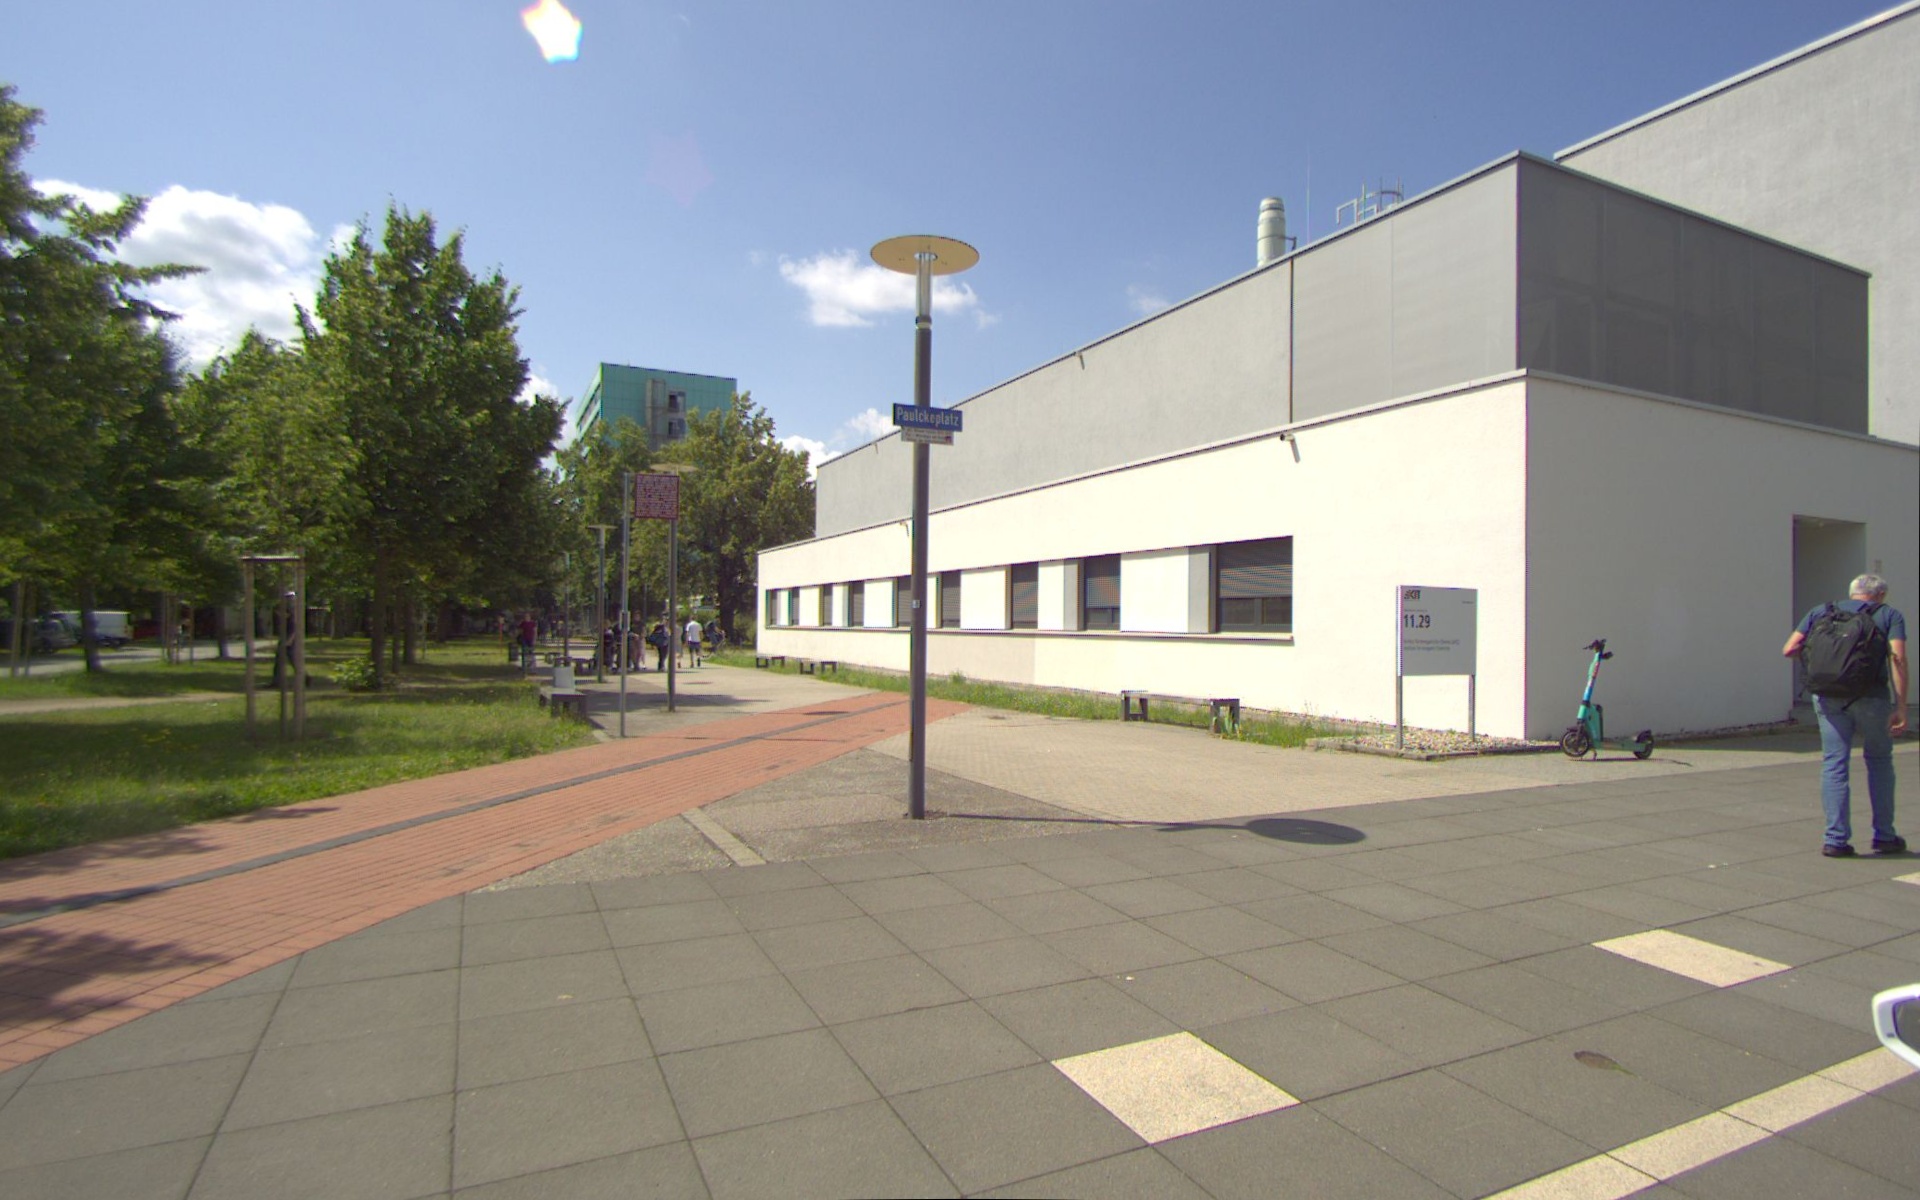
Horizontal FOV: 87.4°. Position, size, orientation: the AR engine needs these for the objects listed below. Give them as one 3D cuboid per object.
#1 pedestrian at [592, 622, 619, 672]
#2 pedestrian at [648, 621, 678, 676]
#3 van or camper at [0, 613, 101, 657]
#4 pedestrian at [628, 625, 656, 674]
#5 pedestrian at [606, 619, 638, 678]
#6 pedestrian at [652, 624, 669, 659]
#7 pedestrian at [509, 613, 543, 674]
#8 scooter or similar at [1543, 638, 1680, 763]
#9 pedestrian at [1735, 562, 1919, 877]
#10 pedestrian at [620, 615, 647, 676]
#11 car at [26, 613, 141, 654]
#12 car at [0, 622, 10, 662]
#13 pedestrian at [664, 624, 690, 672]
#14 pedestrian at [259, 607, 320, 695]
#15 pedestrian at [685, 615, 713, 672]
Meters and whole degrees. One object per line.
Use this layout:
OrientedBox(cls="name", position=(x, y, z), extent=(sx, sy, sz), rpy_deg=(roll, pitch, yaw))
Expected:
OrientedBox(cls="pedestrian", position=(-11.638, 1.542, 32.955), extent=(0.738, 1.602, 0.849), rpy_deg=(1, -1, -27))
OrientedBox(cls="pedestrian", position=(-9.210, 1.505, 31.124), extent=(0.786, 1.676, 0.730), rpy_deg=(1, -1, -10))
OrientedBox(cls="van or camper", position=(-42.435, 1.621, 46.199), extent=(4.031, 1.910, 1.800), rpy_deg=(3, -2, -28))
OrientedBox(cls="pedestrian", position=(-10.600, 1.646, 33.449), extent=(0.689, 1.602, 0.847), rpy_deg=(1, -2, -33))
OrientedBox(cls="pedestrian", position=(-10.171, 1.441, 30.202), extent=(0.741, 1.720, 0.880), rpy_deg=(1, -1, -31))
OrientedBox(cls="pedestrian", position=(-14.548, 2.011, 48.726), extent=(0.715, 1.716, 0.555), rpy_deg=(1, -1, -23))
OrientedBox(cls="pedestrian", position=(-13.892, 1.393, 32.172), extent=(0.840, 1.916, 0.667), rpy_deg=(1, -1, -10))
OrientedBox(cls="scooter or similar", position=(6.948, 1.052, 10.718), extent=(1.291, 1.280, 0.483), rpy_deg=(1, -1, -14))
OrientedBox(cls="pedestrian", position=(5.778, 0.718, 6.538), extent=(1.131, 1.841, 0.819), rpy_deg=(1, -1, -32))
OrientedBox(cls="pedestrian", position=(-10.209, 1.416, 31.379), extent=(0.673, 1.863, 0.760), rpy_deg=(1, -1, -10))
OrientedBox(cls="car", position=(-45.336, 1.763, 52.064), extent=(4.072, 1.969, 1.800), rpy_deg=(3, -2, -28))
OrientedBox(cls="car", position=(-38.743, 1.534, 37.689), extent=(4.072, 1.562, 1.800), rpy_deg=(3, -3, -28))
OrientedBox(cls="pedestrian", position=(-9.629, 1.616, 34.111), extent=(0.747, 1.583, 0.727), rpy_deg=(1, -1, -23))
OrientedBox(cls="pedestrian", position=(-14.159, 1.061, 21.226), extent=(0.623, 1.810, 0.873), rpy_deg=(-1, -1, 12))
OrientedBox(cls="pedestrian", position=(-8.984, 1.486, 34.564), extent=(0.813, 1.908, 0.759), rpy_deg=(1, -1, -23))
